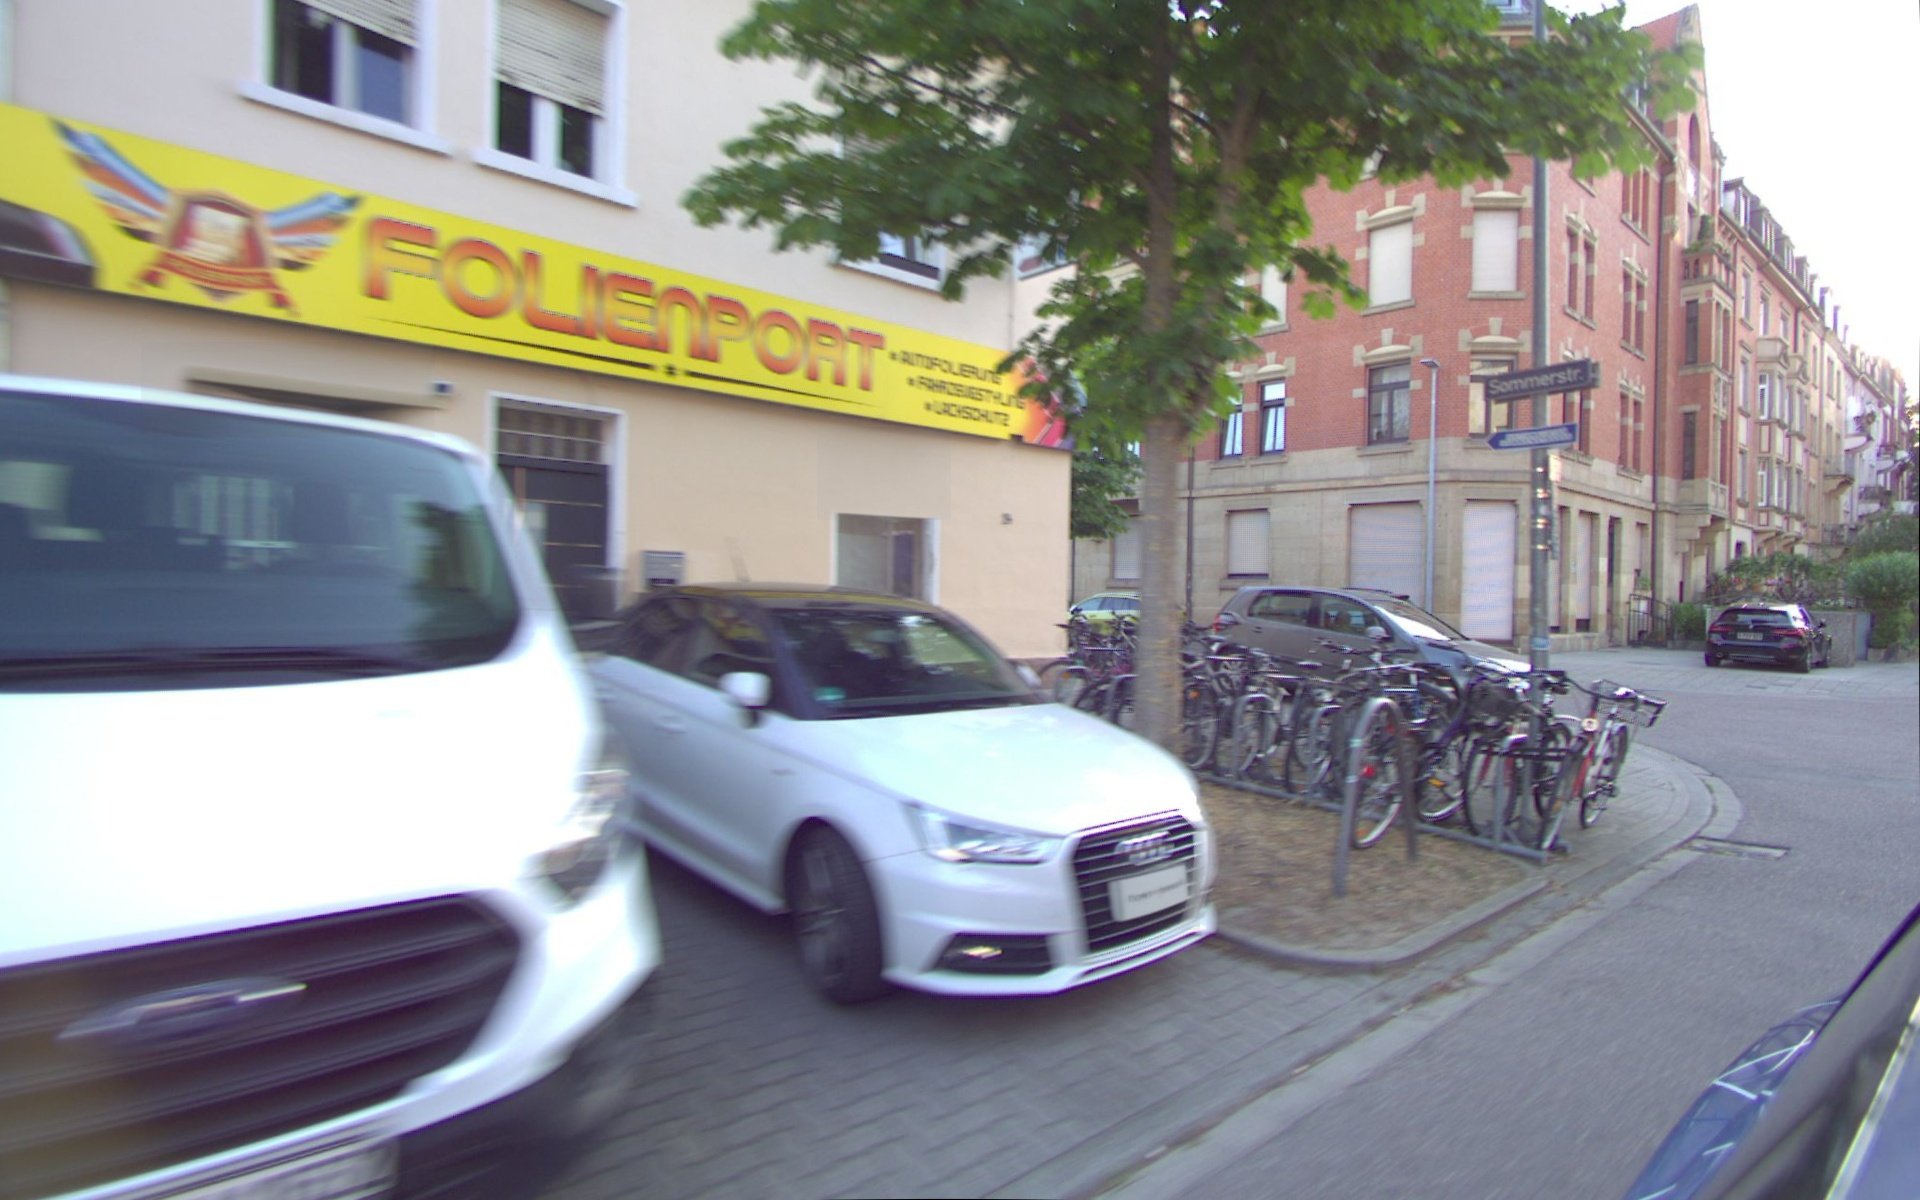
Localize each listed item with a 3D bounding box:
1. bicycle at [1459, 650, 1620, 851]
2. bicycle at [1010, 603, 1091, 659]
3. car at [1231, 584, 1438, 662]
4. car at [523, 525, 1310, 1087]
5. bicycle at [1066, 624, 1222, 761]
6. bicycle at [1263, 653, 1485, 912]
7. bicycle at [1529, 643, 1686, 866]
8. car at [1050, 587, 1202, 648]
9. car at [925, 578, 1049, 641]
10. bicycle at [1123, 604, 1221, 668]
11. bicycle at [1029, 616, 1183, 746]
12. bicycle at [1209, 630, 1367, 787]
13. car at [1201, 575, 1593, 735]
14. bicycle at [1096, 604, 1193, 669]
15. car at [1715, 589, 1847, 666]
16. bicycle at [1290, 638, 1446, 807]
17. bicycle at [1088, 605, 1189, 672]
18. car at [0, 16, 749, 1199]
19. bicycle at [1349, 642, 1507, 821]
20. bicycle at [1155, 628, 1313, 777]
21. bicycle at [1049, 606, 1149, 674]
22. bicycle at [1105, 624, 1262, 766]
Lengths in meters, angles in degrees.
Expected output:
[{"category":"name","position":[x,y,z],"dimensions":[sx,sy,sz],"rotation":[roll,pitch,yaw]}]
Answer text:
[{"category":"bicycle","position":[3.734,0.876,6.445],"dimensions":[1.939,1.037,0.357],"rotation":[0,0,-44]},{"category":"bicycle","position":[1.819,0.608,20.618],"dimensions":[0.473,1.076,1.819],"rotation":[1,0,-41]},{"category":"car","position":[8.850,0.468,24.168],"dimensions":[1.750,1.687,4.337],"rotation":[0,0,-43]},{"category":"car","position":[-0.579,0.577,4.945],"dimensions":[1.692,1.586,4.038],"rotation":[0,0,-41]},{"category":"bicycle","position":[1.622,0.743,8.699],"dimensions":[1.755,1.037,0.357],"rotation":[0,0,-44]},{"category":"bicycle","position":[2.142,0.827,5.108],"dimensions":[1.755,1.037,0.357],"rotation":[0,0,-44]},{"category":"bicycle","position":[3.986,0.853,6.166],"dimensions":[1.939,1.113,0.357],"rotation":[0,0,-44]},{"category":"car","position":[4.634,0.434,28.584],"dimensions":[1.800,1.585,3.991],"rotation":[0,0,-43]},{"category":"car","position":[0.821,0.255,32.425],"dimensions":[1.813,1.882,3.870],"rotation":[0,0,-43]},{"category":"bicycle","position":[3.819,0.626,18.354],"dimensions":[0.473,1.076,1.819],"rotation":[1,0,-41]},{"category":"bicycle","position":[1.336,0.672,9.014],"dimensions":[1.755,1.037,0.357],"rotation":[0,0,-44]},{"category":"bicycle","position":[2.537,0.771,7.713],"dimensions":[1.755,1.037,0.357],"rotation":[0,0,-44]},{"category":"car","position":[5.119,0.534,12.338],"dimensions":[1.771,1.509,4.000],"rotation":[2,2,-37]},{"category":"bicycle","position":[3.288,0.629,18.180],"dimensions":[0.439,1.076,1.819],"rotation":[1,0,-41]},{"category":"car","position":[18.252,0.545,22.446],"dimensions":[3.933,1.543,1.797],"rotation":[0,0,-44]},{"category":"bicycle","position":[2.977,0.819,7.293],"dimensions":[1.755,1.037,0.357],"rotation":[0,0,-44]},{"category":"bicycle","position":[3.074,0.639,17.584],"dimensions":[0.469,1.076,1.819],"rotation":[1,0,-41]},{"category":"car","position":[-2.768,0.252,3.358],"dimensions":[2.111,2.127,4.973],"rotation":[-1,1,-38]},{"category":"bicycle","position":[3.267,0.837,6.984],"dimensions":[1.797,1.037,0.357],"rotation":[0,0,-44]},{"category":"bicycle","position":[2.215,0.760,8.053],"dimensions":[1.755,1.037,0.357],"rotation":[0,0,-44]},{"category":"bicycle","position":[2.369,0.655,17.414],"dimensions":[0.519,1.076,1.819],"rotation":[1,0,-41]},{"category":"bicycle","position":[1.893,0.736,8.403],"dimensions":[1.755,1.037,0.357],"rotation":[0,0,-44]}]
